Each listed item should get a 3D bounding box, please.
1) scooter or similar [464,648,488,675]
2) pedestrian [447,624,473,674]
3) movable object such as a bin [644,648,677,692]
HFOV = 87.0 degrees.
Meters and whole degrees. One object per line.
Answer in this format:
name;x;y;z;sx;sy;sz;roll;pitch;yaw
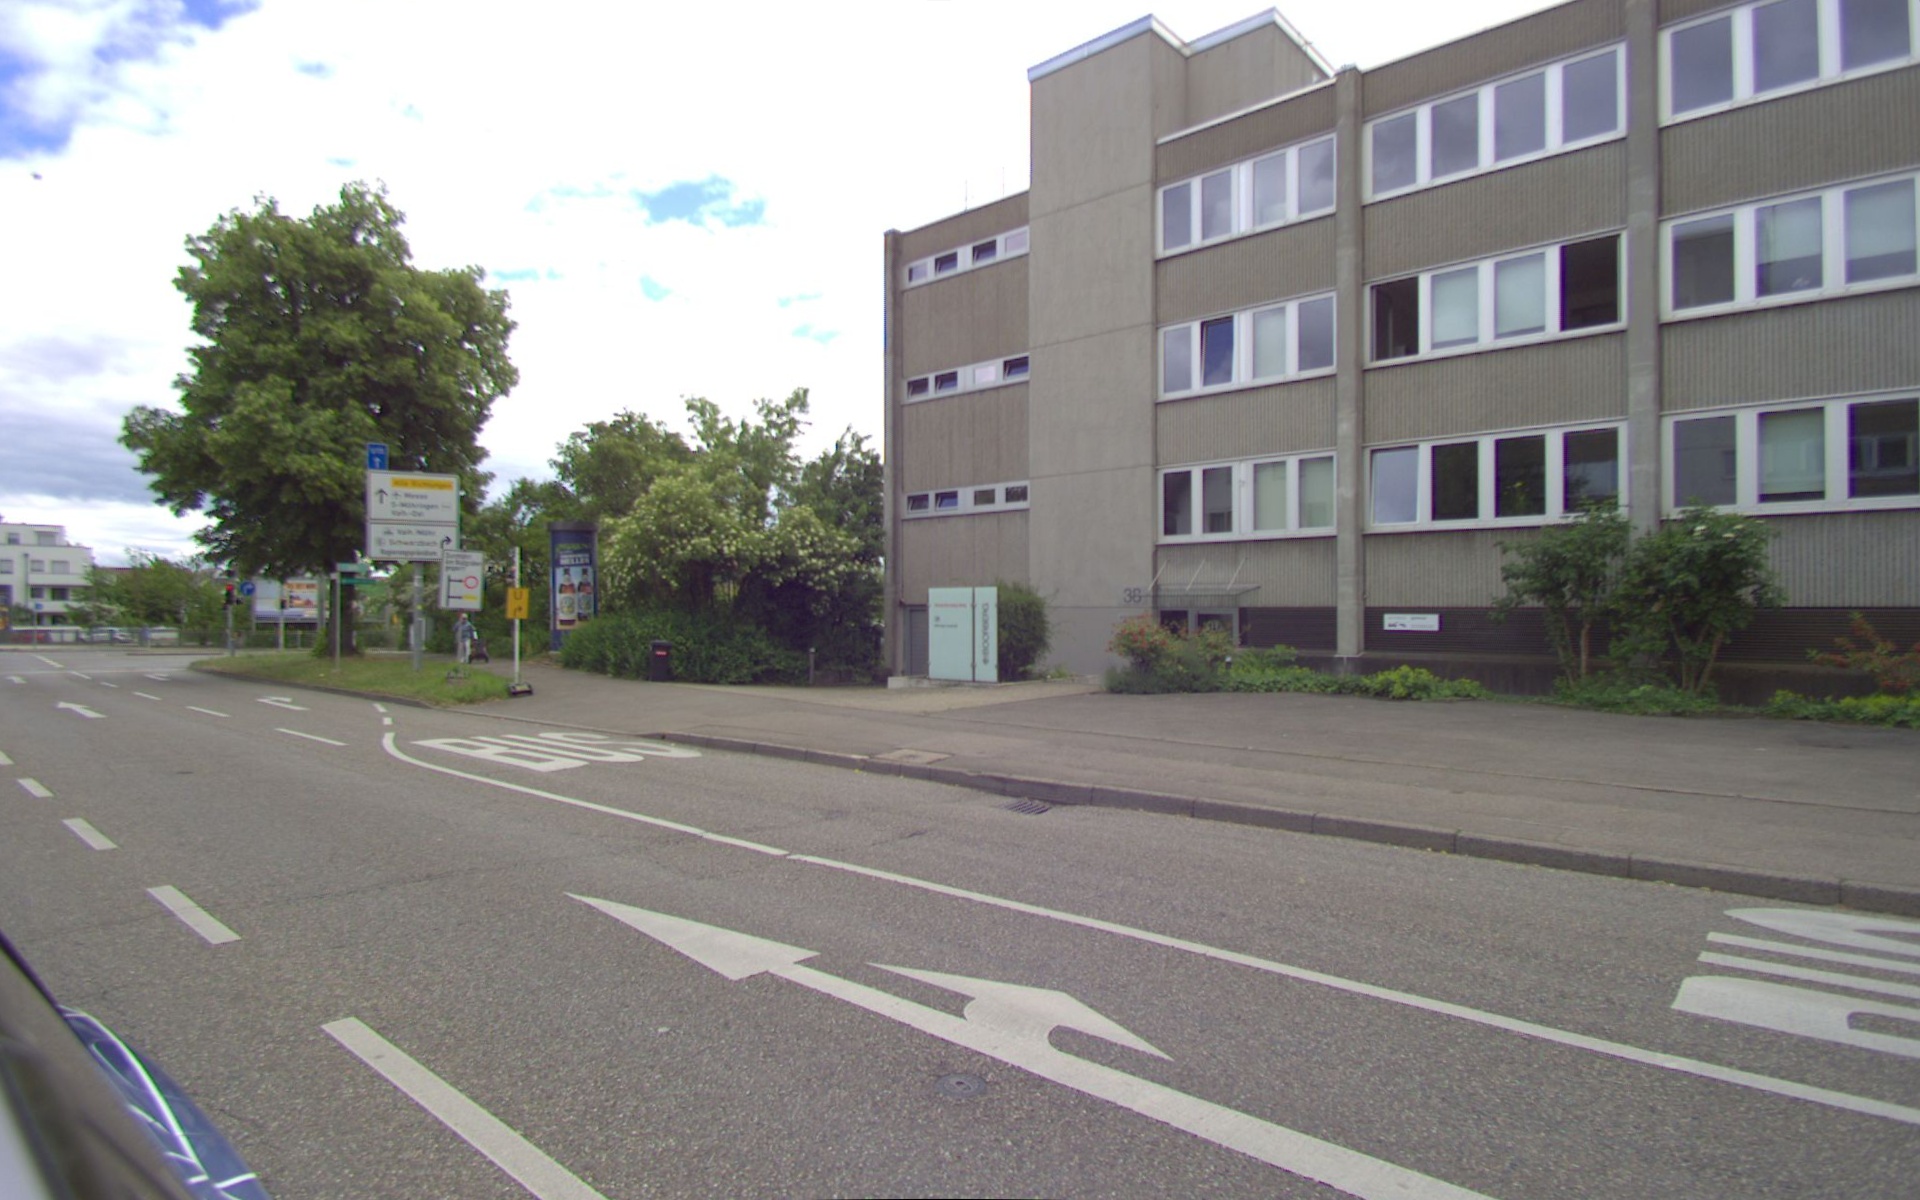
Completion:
scooter or similar;-15.093;1.915;31.564;0.598;0.792;0.861;-1;0;-32
pedestrian;-15.851;1.540;32.082;0.662;1.570;0.521;0;-1;-32
movable object such as a bin;-6.610;1.533;22.317;0.558;0.934;0.609;0;-1;-33
